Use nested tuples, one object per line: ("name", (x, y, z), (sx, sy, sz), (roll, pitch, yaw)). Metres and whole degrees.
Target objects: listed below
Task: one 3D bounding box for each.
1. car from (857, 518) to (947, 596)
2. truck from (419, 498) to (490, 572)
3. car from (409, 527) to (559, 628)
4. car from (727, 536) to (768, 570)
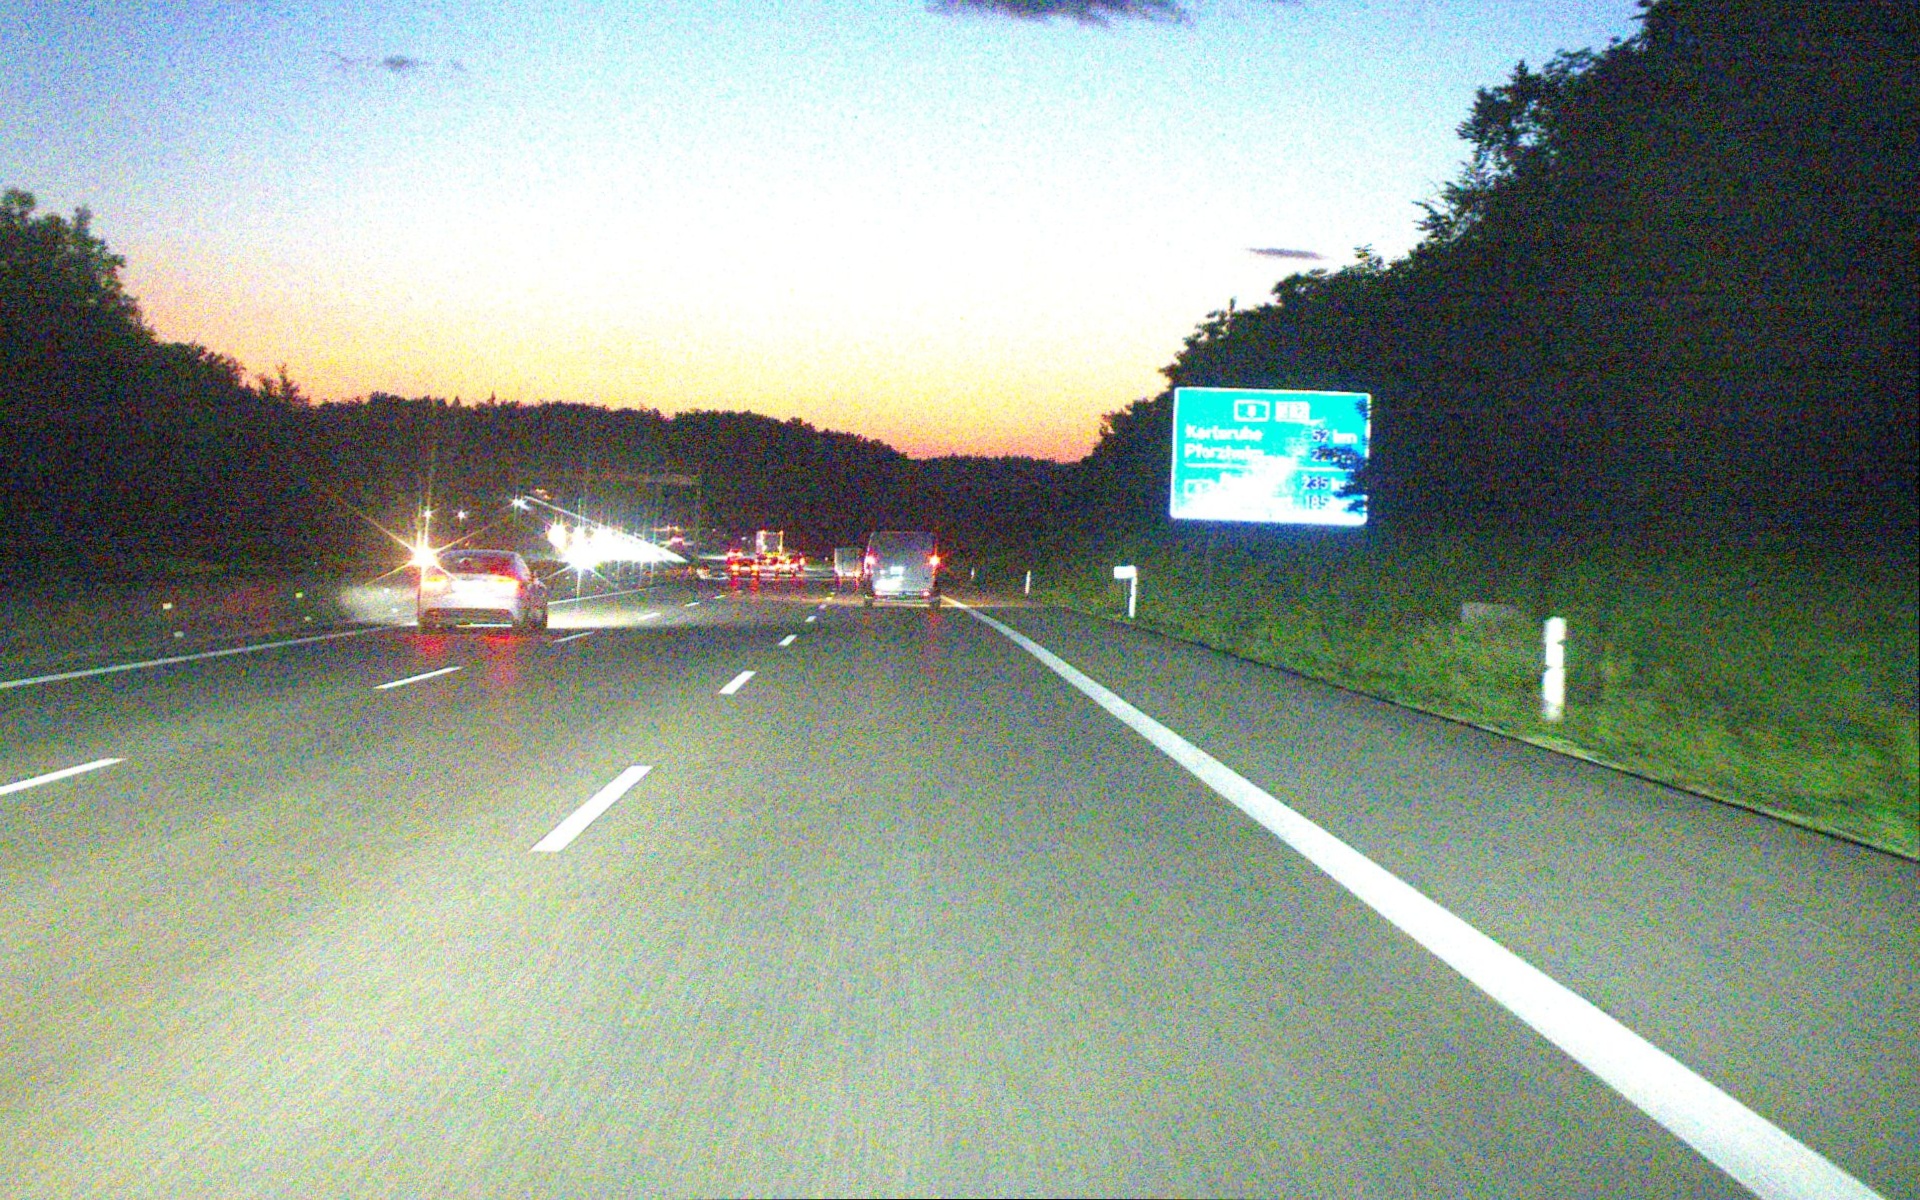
("car", (-1.483, -1.140, 89.631), (2.196, 1.948, 4.763), (0, 2, 1))
("truck", (-27.194, -3.478, 185.339), (2.519, 3.838, 9.065), (1, 1, -1))
("car", (-8.014, -0.420, 58.270), (1.779, 1.481, 5.254), (4, 2, -1))
("car", (-13.376, -2.964, 216.749), (2.196, 1.948, 4.634), (4, 2, -1))
